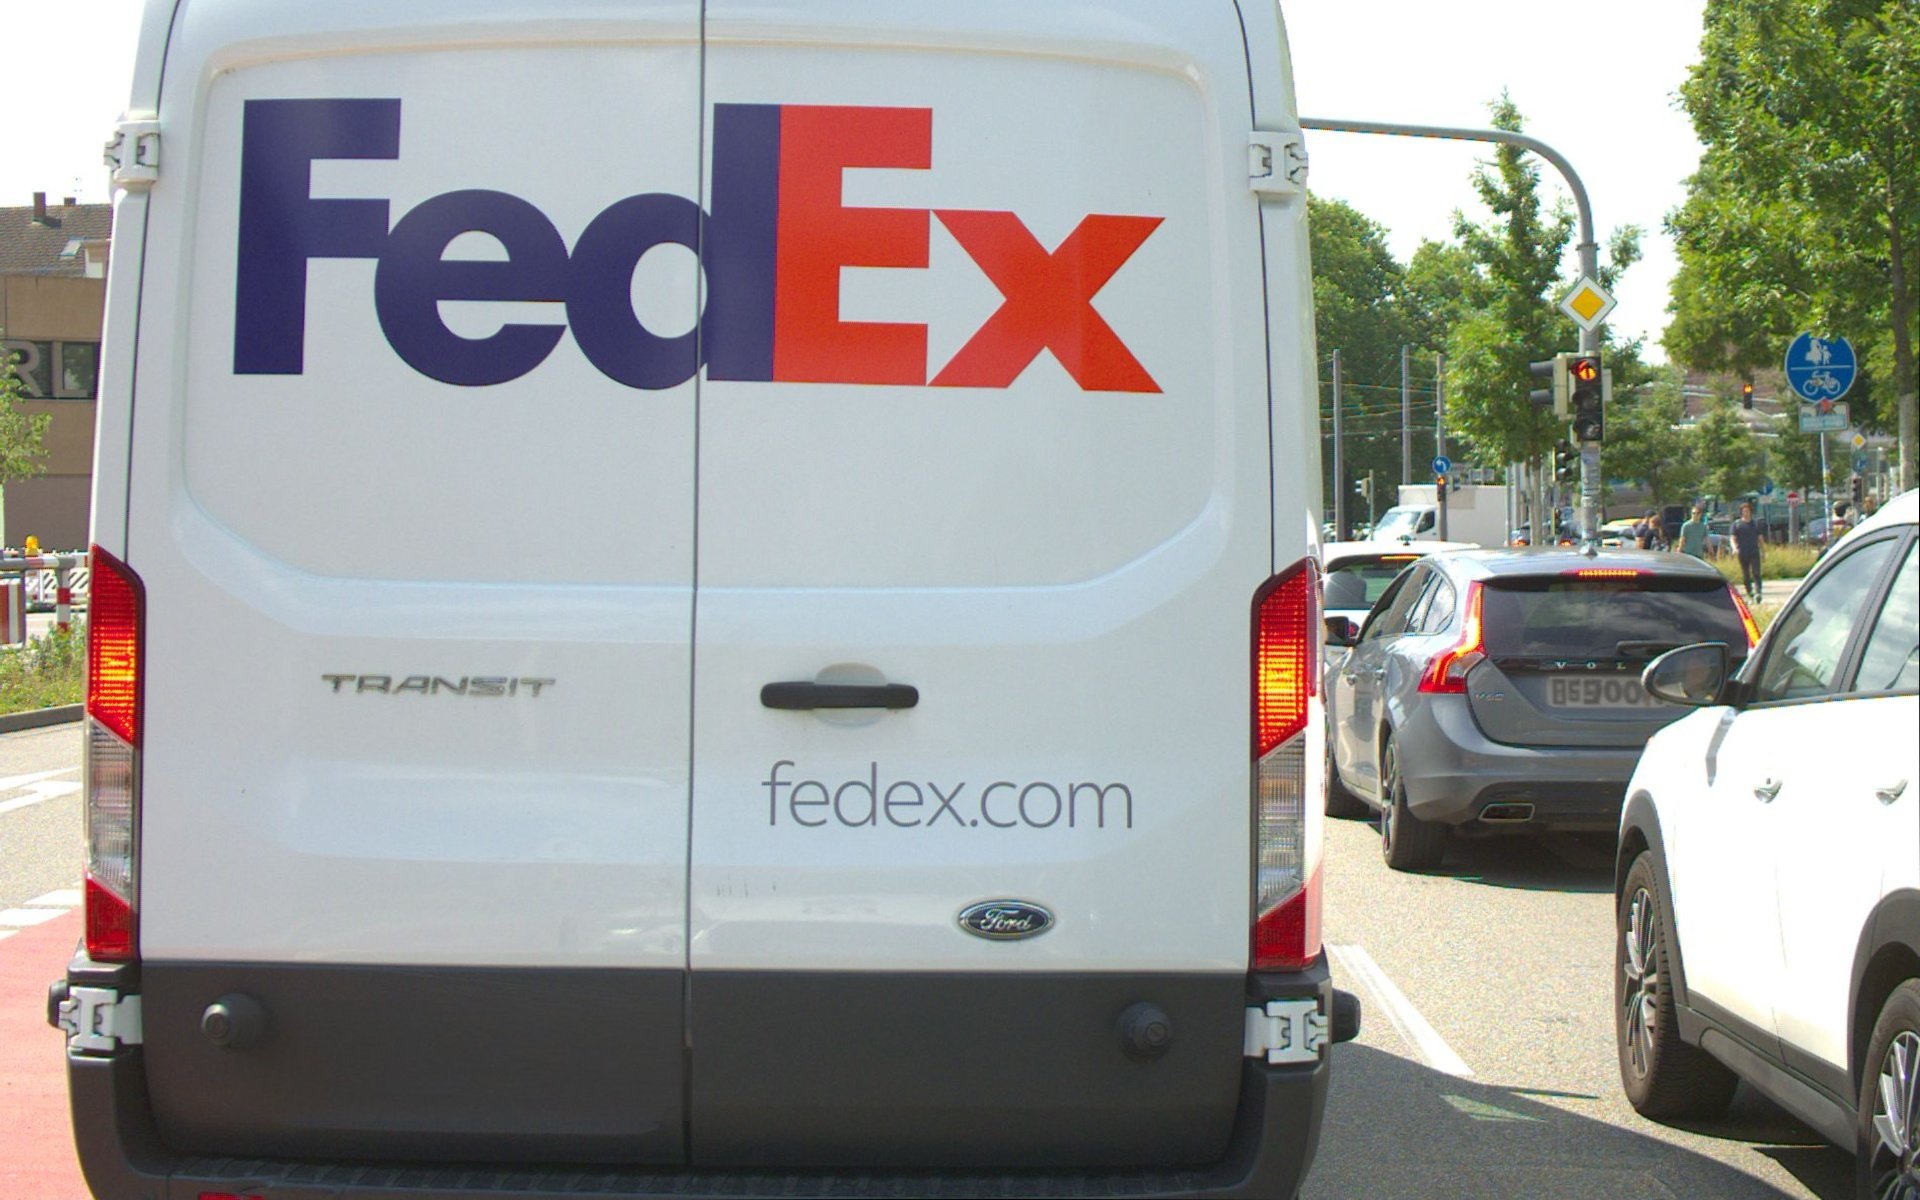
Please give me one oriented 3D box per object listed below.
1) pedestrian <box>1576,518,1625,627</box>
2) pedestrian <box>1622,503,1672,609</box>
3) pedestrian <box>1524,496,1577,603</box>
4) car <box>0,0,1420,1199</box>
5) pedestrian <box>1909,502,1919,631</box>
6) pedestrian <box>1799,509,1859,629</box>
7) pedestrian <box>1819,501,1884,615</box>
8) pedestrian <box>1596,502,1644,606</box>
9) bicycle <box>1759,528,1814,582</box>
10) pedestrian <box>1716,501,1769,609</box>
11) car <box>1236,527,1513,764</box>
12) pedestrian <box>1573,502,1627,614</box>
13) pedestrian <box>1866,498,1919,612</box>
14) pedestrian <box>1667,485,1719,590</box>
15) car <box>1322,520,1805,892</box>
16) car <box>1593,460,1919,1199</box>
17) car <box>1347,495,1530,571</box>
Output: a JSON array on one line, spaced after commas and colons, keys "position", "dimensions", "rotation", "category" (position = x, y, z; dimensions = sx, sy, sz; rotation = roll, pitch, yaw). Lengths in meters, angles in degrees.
[{"position": [11.008, -0.475, 59.049], "dimensions": [0.759, 1.843, 0.816], "rotation": [0, 1, 15], "category": "pedestrian"}, {"position": [11.973, -0.772, 59.899], "dimensions": [0.759, 1.843, 0.815], "rotation": [0, 1, 18], "category": "pedestrian"}, {"position": [10.293, -0.891, 59.972], "dimensions": [0.813, 1.843, 0.761], "rotation": [-1, 1, 3], "category": "pedestrian"}, {"position": [-0.346, 0.069, 7.151], "dimensions": [2.072, 2.572, 4.428], "rotation": [0, 1, 1], "category": "car"}, {"position": [12.619, -0.435, 43.992], "dimensions": [0.759, 1.649, 0.816], "rotation": [-1, 1, 3], "category": "pedestrian"}, {"position": [13.558, -0.492, 53.656], "dimensions": [0.759, 1.843, 0.816], "rotation": [-1, 1, 3], "category": "pedestrian"}, {"position": [14.581, -0.687, 56.240], "dimensions": [0.758, 1.843, 0.816], "rotation": [-1, 1, -10], "category": "pedestrian"}, {"position": [11.842, -0.830, 61.712], "dimensions": [0.759, 1.843, 0.816], "rotation": [-1, 1, 6], "category": "pedestrian"}, {"position": [23.398, -1.286, 97.286], "dimensions": [1.426, 1.459, 4.308], "rotation": [0, 2, 15], "category": "bicycle"}, {"position": [13.604, -0.786, 59.754], "dimensions": [0.759, 1.843, 0.816], "rotation": [-1, 1, 3], "category": "pedestrian"}, {"position": [2.734, 0.249, 23.242], "dimensions": [1.499, 1.459, 3.474], "rotation": [-1, 1, 1], "category": "car"}, {"position": [10.551, -0.698, 56.689], "dimensions": [0.759, 1.843, 0.815], "rotation": [0, 1, 18], "category": "pedestrian"}, {"position": [15.373, -0.740, 56.322], "dimensions": [0.758, 1.843, 0.816], "rotation": [-1, 1, -8], "category": "pedestrian"}, {"position": [12.963, -1.110, 60.805], "dimensions": [0.759, 1.843, 0.816], "rotation": [-1, 1, 1], "category": "pedestrian"}, {"position": [2.741, 0.405, 16.354], "dimensions": [1.691, 1.543, 3.720], "rotation": [-1, 1, 1], "category": "car"}, {"position": [2.598, 0.551, 7.336], "dimensions": [1.814, 1.673, 3.974], "rotation": [-1, 1, 1], "category": "car"}, {"position": [17.875, -2.484, 128.193], "dimensions": [7.063, 2.708, 2.495], "rotation": [0, 1, -37], "category": "car"}]
